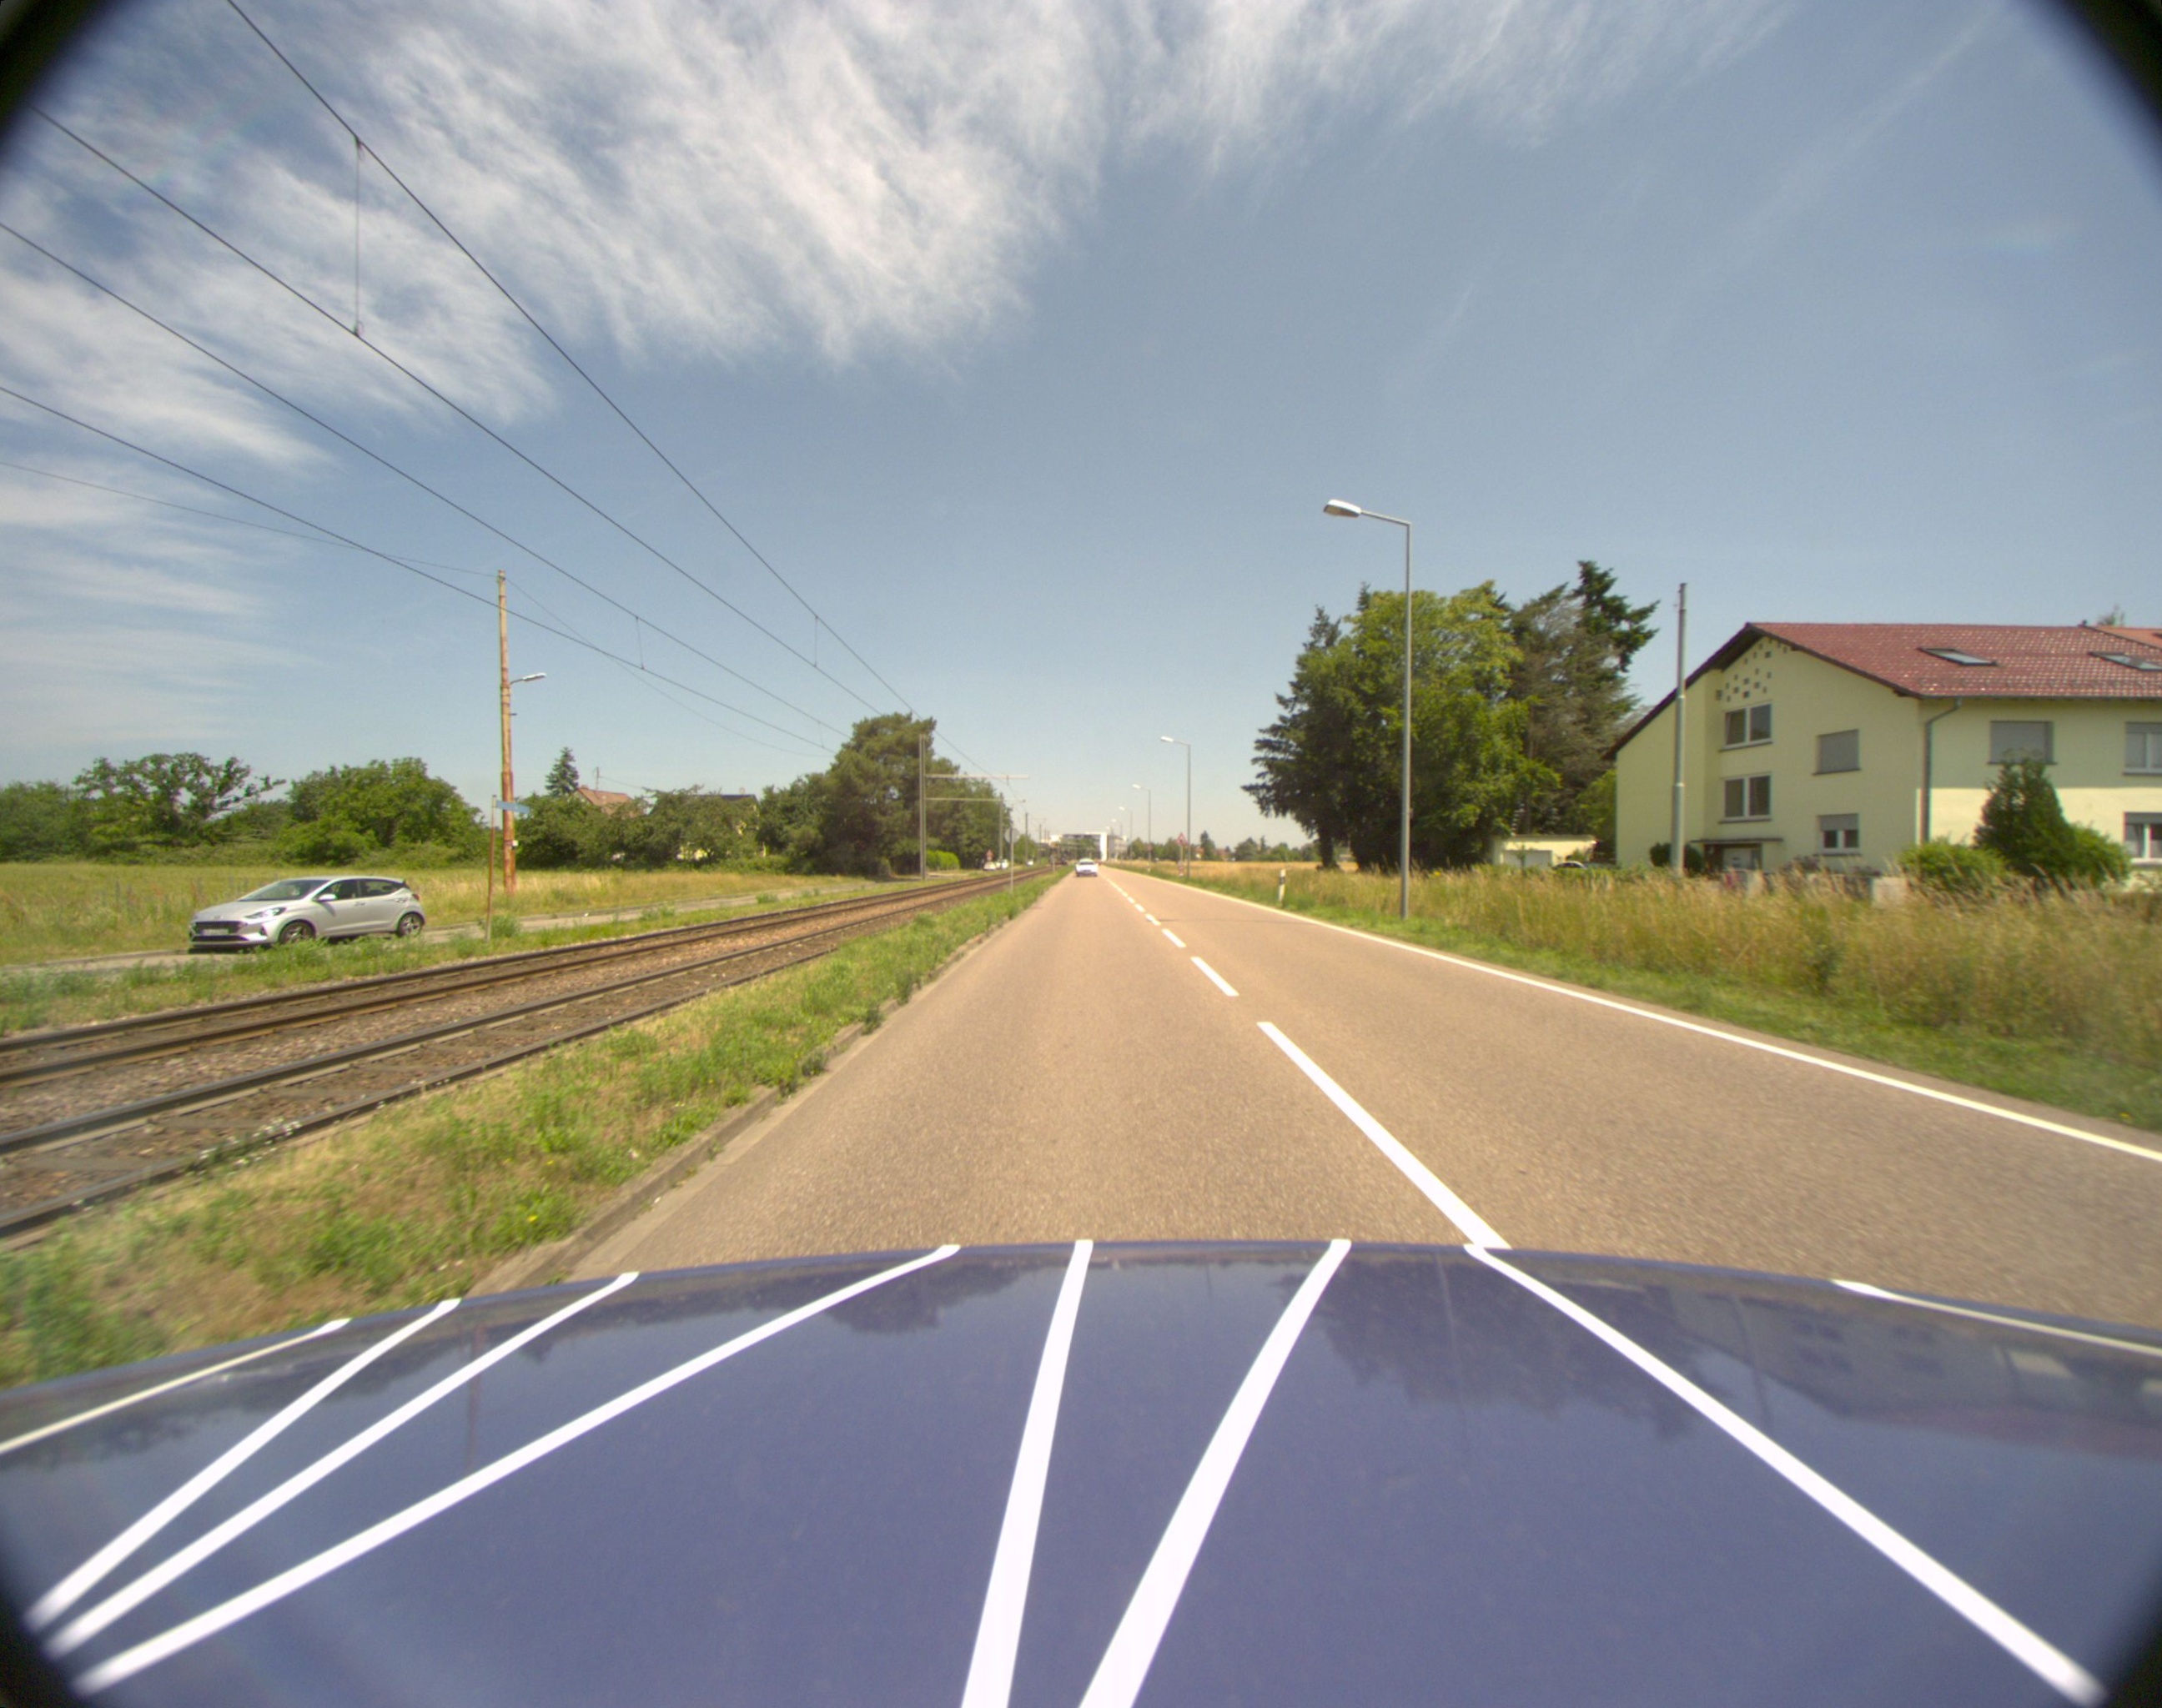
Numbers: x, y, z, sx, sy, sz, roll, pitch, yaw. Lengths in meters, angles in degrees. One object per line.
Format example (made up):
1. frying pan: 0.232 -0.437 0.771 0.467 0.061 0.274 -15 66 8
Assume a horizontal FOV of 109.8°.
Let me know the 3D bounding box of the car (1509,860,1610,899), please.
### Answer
1. car: 20.492 1.034 32.765 1.710 1.483 4.186 -1 0 0

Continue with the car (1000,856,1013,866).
1. car: -14.644 1.366 149.598 1.863 1.816 4.587 -1 0 1

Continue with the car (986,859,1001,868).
1. car: -14.944 1.597 129.717 1.923 1.376 4.000 -1 0 1

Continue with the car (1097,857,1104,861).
1. car: 6.240 1.591 249.268 2.254 1.254 3.890 -1 0 1

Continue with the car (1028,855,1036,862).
1. car: -14.754 1.403 227.441 1.944 2.111 4.587 -1 0 1

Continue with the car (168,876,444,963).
1. car: -16.242 1.283 16.282 1.717 1.480 4.001 -1 0 2

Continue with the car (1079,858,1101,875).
1. car: 0.783 1.068 66.538 1.856 1.447 3.706 -1 0 1
